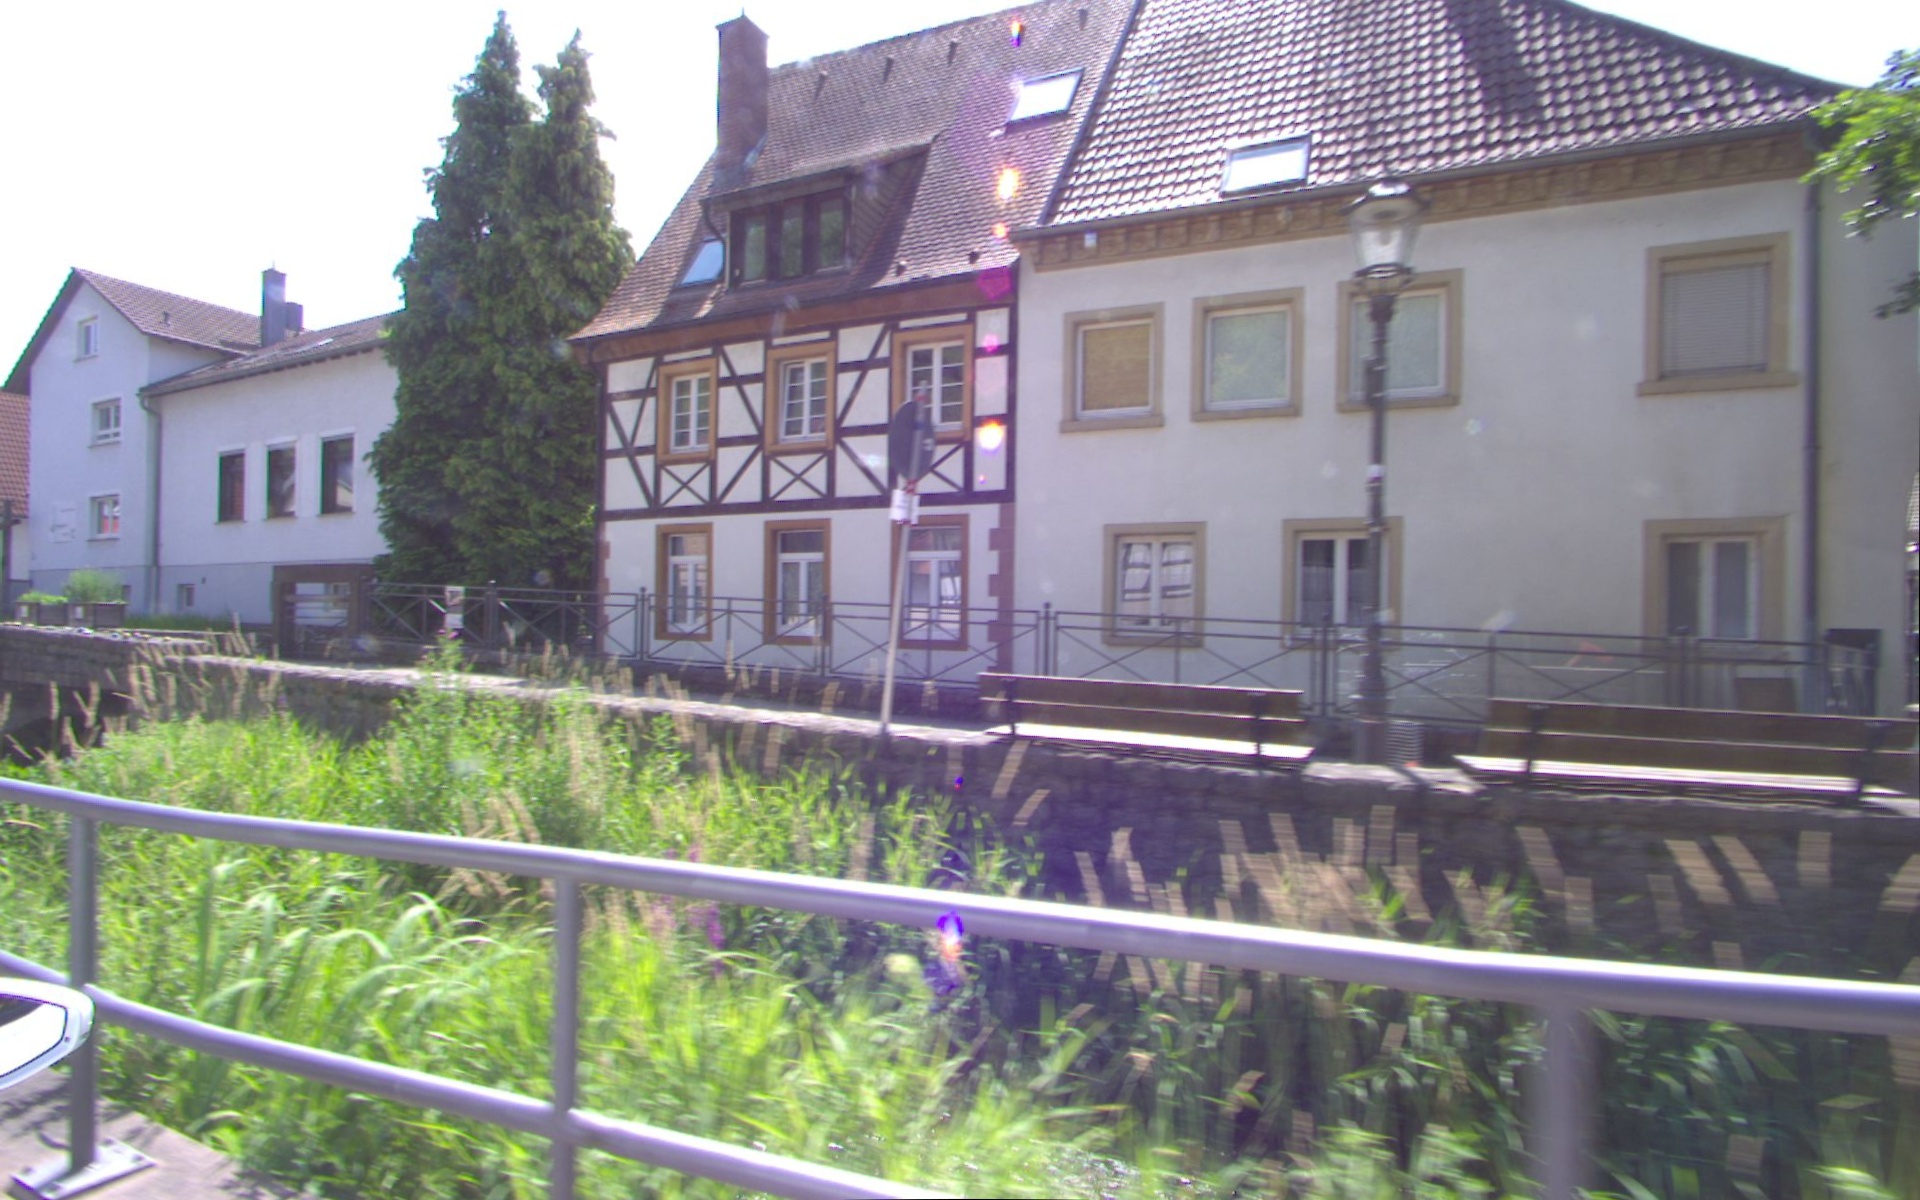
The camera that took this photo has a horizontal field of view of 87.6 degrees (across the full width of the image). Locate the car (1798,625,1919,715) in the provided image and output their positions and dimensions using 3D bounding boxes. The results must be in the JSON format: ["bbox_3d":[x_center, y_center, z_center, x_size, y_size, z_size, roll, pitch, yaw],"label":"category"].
[{"bbox_3d":[23.976,1.754,24.543,5.054,2.054,1.947,2,1,36],"label":"car"}]

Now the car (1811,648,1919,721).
[{"bbox_3d":[22.108,1.956,22.404,4.479,1.501,1.579,2,1,36],"label":"car"}]
